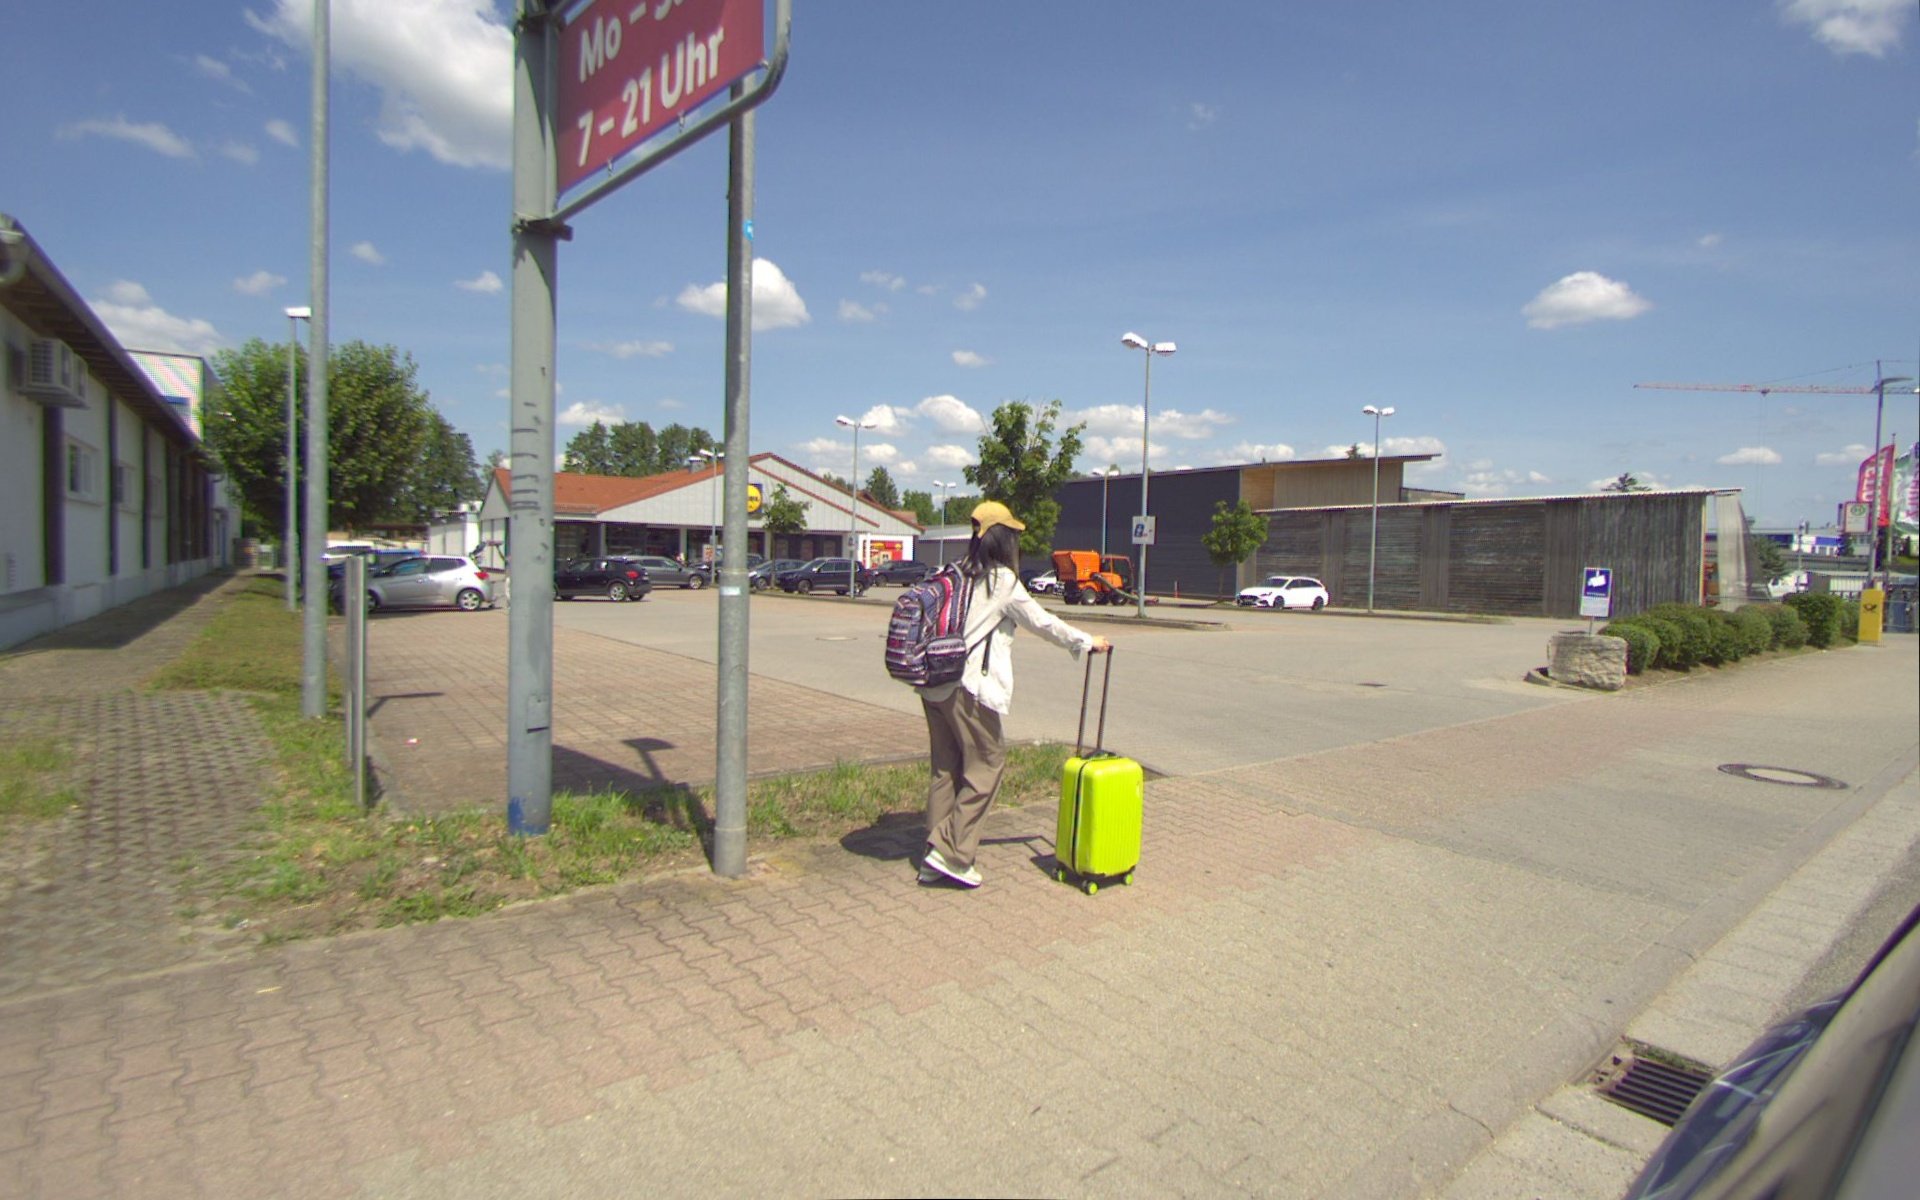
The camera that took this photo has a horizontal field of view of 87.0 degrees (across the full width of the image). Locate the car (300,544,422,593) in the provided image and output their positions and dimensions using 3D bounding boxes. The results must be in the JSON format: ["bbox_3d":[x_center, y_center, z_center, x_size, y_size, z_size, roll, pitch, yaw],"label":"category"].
[{"bbox_3d":[-23.161,-1.272,39.143,3.912,1.728,1.896,-3,5,-34],"label":"car"}]

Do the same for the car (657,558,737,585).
[{"bbox_3d":[-14.132,-1.535,54.498,3.931,1.428,1.583,-1,2,-41],"label":"car"}]

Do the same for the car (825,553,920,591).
[{"bbox_3d":[-3.885,-1.227,44.921,3.917,1.651,1.588,0,2,-25],"label":"car"}]

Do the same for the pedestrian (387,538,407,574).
[{"bbox_3d":[-33.550,-2.633,60.300,0.897,2.132,0.870,-1,2,-41],"label":"pedestrian"}]

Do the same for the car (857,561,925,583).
[{"bbox_3d":[-4.127,-1.680,60.792,3.711,1.187,1.618,0,3,-26],"label":"car"}]

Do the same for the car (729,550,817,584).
[{"bbox_3d":[-9.000,-1.582,48.844,3.928,1.612,1.584,-1,2,-39],"label":"car"}]

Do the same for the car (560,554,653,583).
[{"bbox_3d":[-16.891,-1.499,48.494,3.931,1.325,1.583,-1,3,-41],"label":"car"}]

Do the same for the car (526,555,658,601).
[{"bbox_3d":[-12.932,-0.782,35.718,3.928,1.512,1.999,1,2,4],"label":"car"}]

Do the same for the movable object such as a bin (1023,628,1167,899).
[{"bbox_3d":[0.582,0.663,4.343,0.491,1.042,0.374,-2,4,-44],"label":"movable object such as a bin"}]

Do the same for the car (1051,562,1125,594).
[{"bbox_3d":[6.788,-1.171,53.482,3.927,1.593,1.584,-1,2,-38],"label":"car"}]

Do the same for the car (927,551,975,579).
[{"bbox_3d":[-0.527,-2.160,62.263,2.652,1.707,1.301,-1,4,-30],"label":"car"}]

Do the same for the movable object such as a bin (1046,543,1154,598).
[{"bbox_3d":[6.062,-1.275,43.725,4.430,2.231,1.688,0,3,-29],"label":"movable object such as a bin"}]

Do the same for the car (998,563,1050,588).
[{"bbox_3d":[3.641,-1.394,57.350,1.494,1.325,2.763,2,3,45],"label":"car"}]

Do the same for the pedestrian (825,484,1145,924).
[{"bbox_3d":[0.126,0.363,4.408,1.190,1.621,0.762,-1,2,-43],"label":"pedestrian"}]

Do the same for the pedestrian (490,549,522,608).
[{"bbox_3d":[-13.318,-0.638,29.662,0.766,1.657,0.733,-2,4,-27],"label":"pedestrian"}]

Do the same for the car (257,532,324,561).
[{"bbox_3d":[-48.545,-3.846,73.432,3.928,2.038,1.999,-1,2,-39],"label":"car"}]

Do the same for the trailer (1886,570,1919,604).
[{"bbox_3d":[64.684,-0.848,67.632,1.965,2.040,3.992,8,-5,-42],"label":"trailer"}]

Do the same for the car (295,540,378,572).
[{"bbox_3d":[-36.338,-2.574,59.042,3.910,1.789,1.818,-3,4,-38],"label":"car"}]

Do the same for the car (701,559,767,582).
[{"bbox_3d":[-11.718,-1.525,52.564,2.942,1.138,1.583,-1,2,-41],"label":"car"}]

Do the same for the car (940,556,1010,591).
[{"bbox_3d":[0.783,-1.391,51.823,3.273,1.631,1.514,-3,5,-28],"label":"car"}]

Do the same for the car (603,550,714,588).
[{"bbox_3d":[-13.471,-1.380,45.316,4.533,1.612,1.585,-1,2,-37],"label":"car"}]

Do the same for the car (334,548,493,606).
[{"bbox_3d":[-15.314,-0.656,28.386,3.823,1.516,1.896,0,2,-32],"label":"car"}]

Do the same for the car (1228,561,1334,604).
[{"bbox_3d":[13.640,-0.731,42.914,4.353,1.682,2.001,0,2,-34],"label":"car"}]

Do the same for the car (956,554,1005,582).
[{"bbox_3d":[1.219,-1.883,59.164,2.621,1.586,1.226,-1,3,-35],"label":"car"}]
